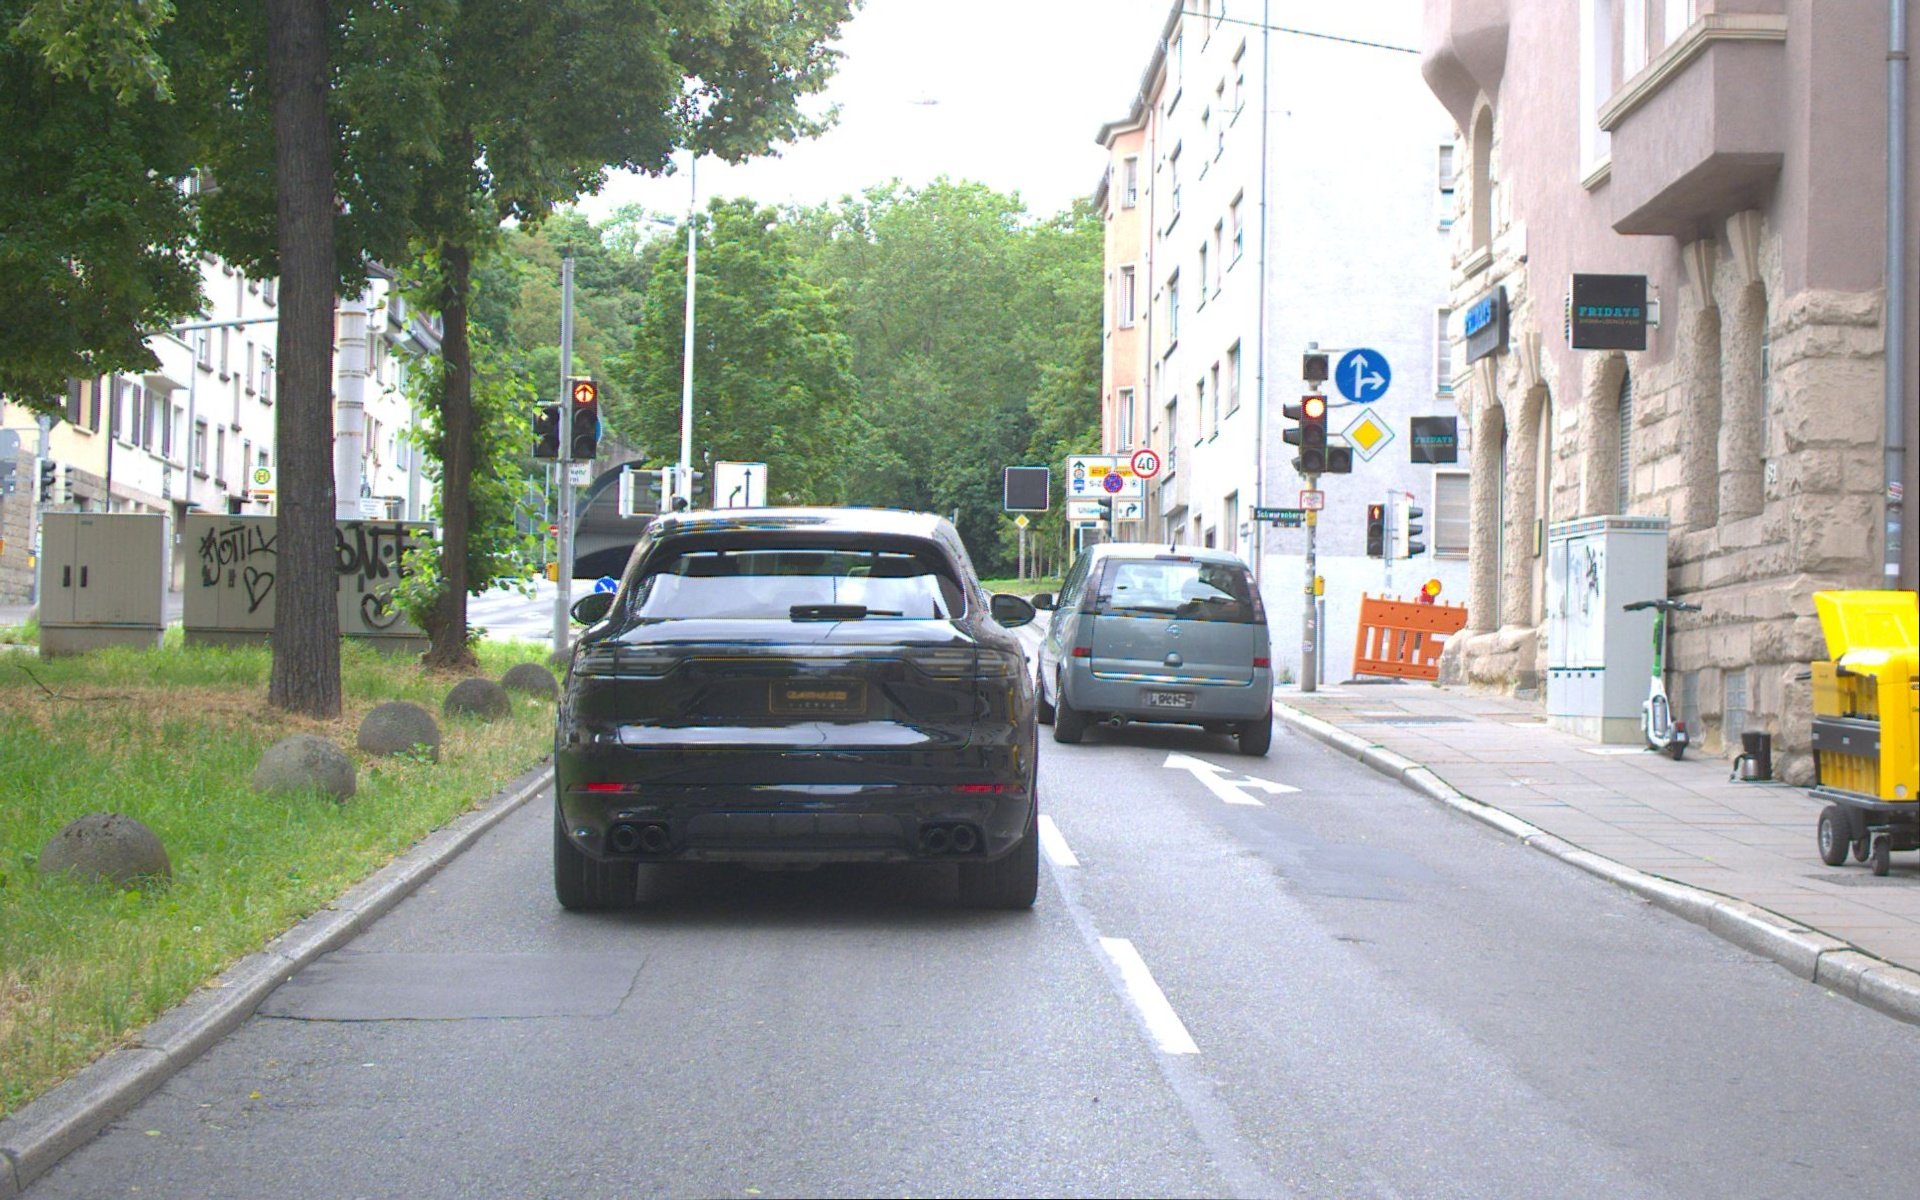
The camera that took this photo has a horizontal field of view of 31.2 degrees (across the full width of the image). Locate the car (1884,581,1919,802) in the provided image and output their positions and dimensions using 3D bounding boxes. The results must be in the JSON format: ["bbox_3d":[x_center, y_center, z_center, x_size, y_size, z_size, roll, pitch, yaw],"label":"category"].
[{"bbox_3d":[8.243,0.669,22.226,3.987,1.398,1.800,1,3,-1],"label":"car"}]

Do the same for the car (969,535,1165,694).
[{"bbox_3d":[1.127,0.140,37.977,1.994,1.647,4.000,0,0,-1],"label":"car"}]

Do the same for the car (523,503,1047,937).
[{"bbox_3d":[-0.689,0.413,15.160,1.994,1.647,4.000,0,1,-1],"label":"car"}]

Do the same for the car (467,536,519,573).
[{"bbox_3d":[-19.691,-1.936,145.114,1.794,1.505,4.001,1,1,-3],"label":"car"}]

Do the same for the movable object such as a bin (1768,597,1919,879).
[{"bbox_3d":[4.862,0.695,18.108,0.719,1.416,1.693,0,0,-3],"label":"movable object such as a bin"}]

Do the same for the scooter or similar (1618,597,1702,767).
[{"bbox_3d":[5.210,0.596,25.617,0.401,1.184,1.354,0,2,3],"label":"scooter or similar"}]

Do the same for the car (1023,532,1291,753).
[{"bbox_3d":[1.531,0.291,27.955,1.752,1.588,3.631,3,1,-2],"label":"car"}]
